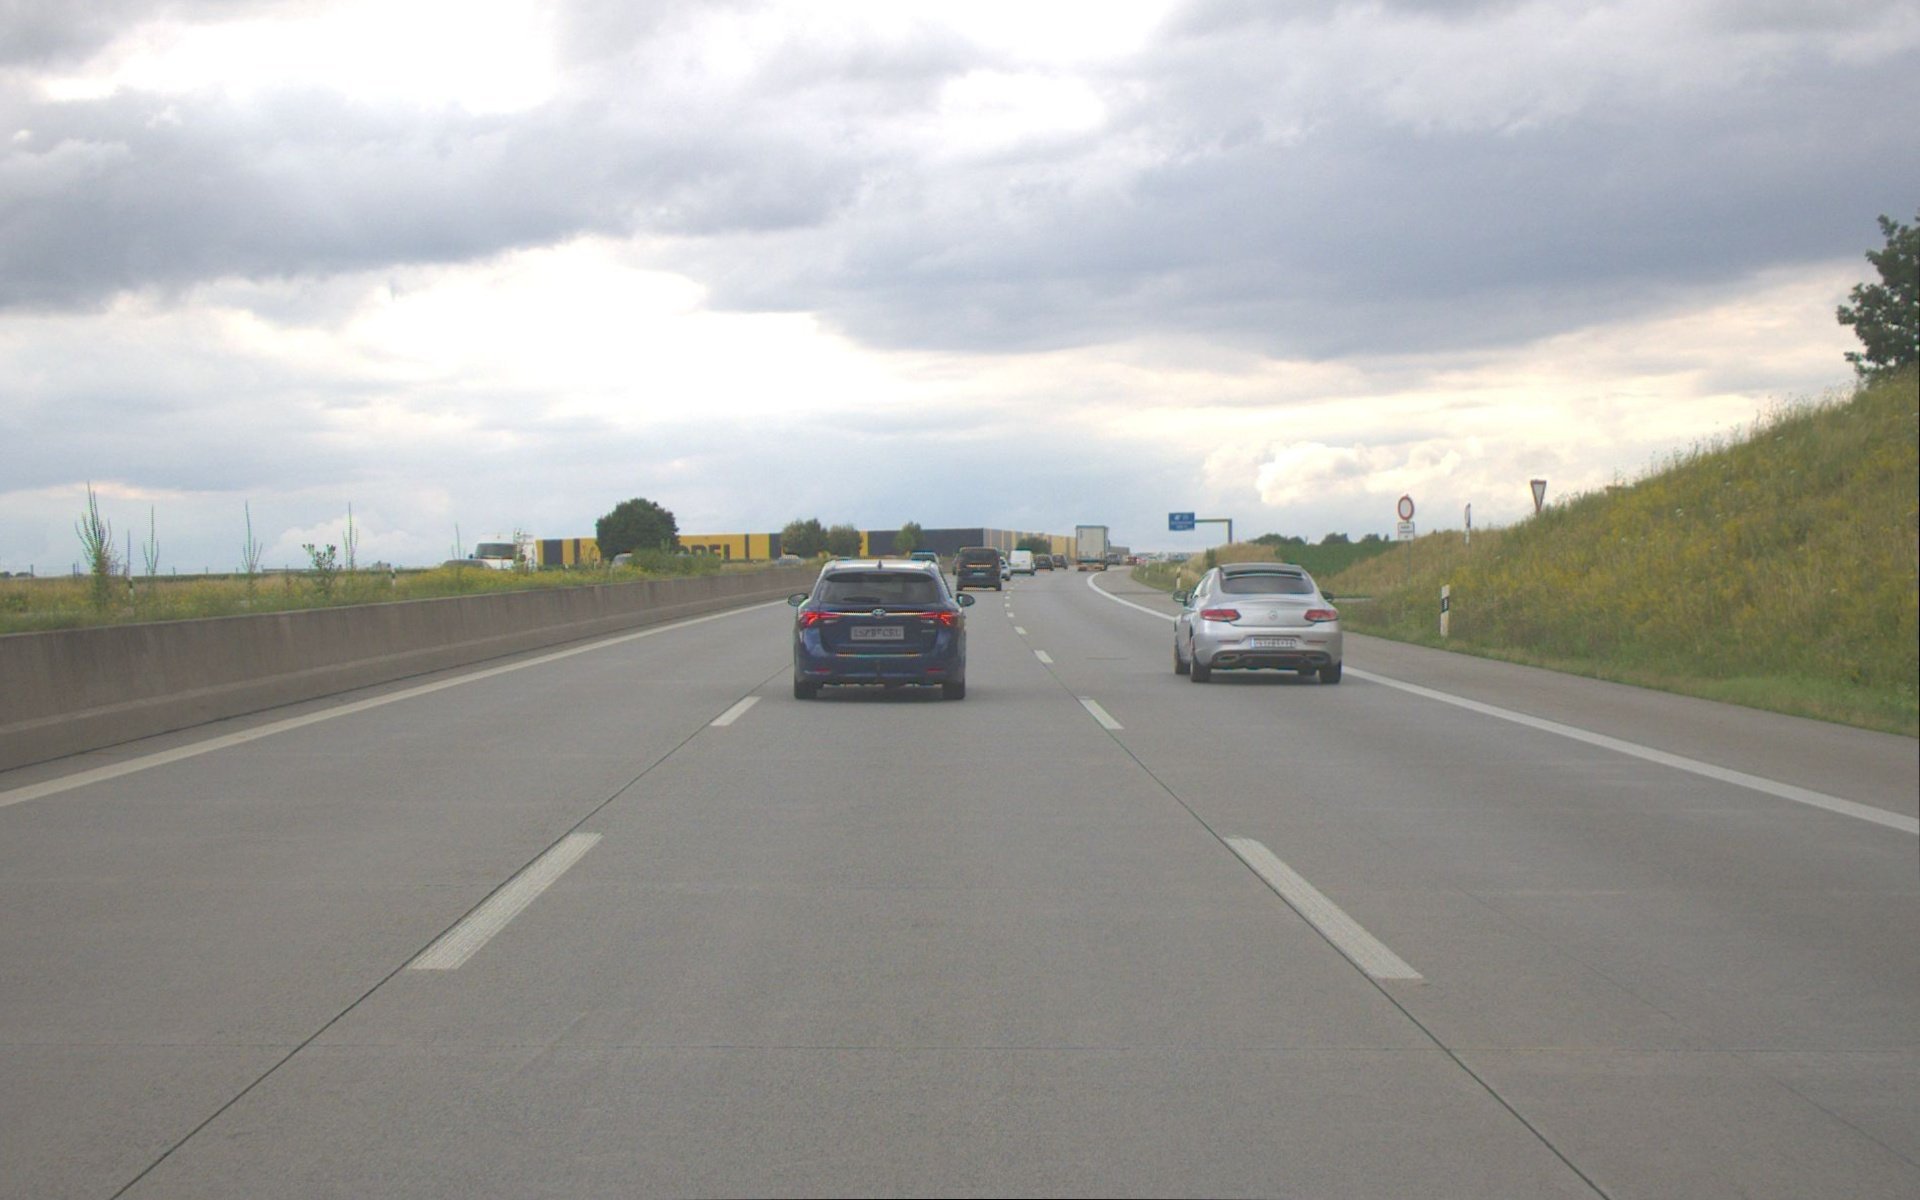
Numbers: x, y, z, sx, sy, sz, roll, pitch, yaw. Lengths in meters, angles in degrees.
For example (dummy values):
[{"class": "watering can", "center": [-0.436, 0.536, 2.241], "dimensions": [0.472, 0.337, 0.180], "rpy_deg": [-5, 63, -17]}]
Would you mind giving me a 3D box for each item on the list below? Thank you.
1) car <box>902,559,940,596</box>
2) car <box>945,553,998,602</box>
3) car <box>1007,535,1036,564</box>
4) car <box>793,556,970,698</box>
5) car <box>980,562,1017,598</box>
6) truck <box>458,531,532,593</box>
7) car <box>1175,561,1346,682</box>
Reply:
[{"class": "car", "center": [-2.167, -1.246, 189.580], "dimensions": [2.046, 2.007, 4.000], "rpy_deg": [1, 0, -1]}, {"class": "car", "center": [0.492, -0.945, 145.866], "dimensions": [1.993, 2.007, 4.000], "rpy_deg": [1, 0, -3]}, {"class": "car", "center": [4.418, -3.594, 246.894], "dimensions": [1.993, 2.007, 4.000], "rpy_deg": [1, 0, 1]}, {"class": "car", "center": [-0.809, 0.255, 36.383], "dimensions": [1.774, 1.408, 4.000], "rpy_deg": [0, 0, -1]}, {"class": "car", "center": [2.257, -1.175, 199.432], "dimensions": [1.994, 2.007, 4.000], "rpy_deg": [1, 1, 3]}, {"class": "truck", "center": [-19.932, -1.598, 147.706], "dimensions": [2.144, 2.558, 7.448], "rpy_deg": [1, 0, 0]}, {"class": "car", "center": [3.622, 0.234, 42.008], "dimensions": [1.788, 1.399, 4.221], "rpy_deg": [0, 0, 1]}]
